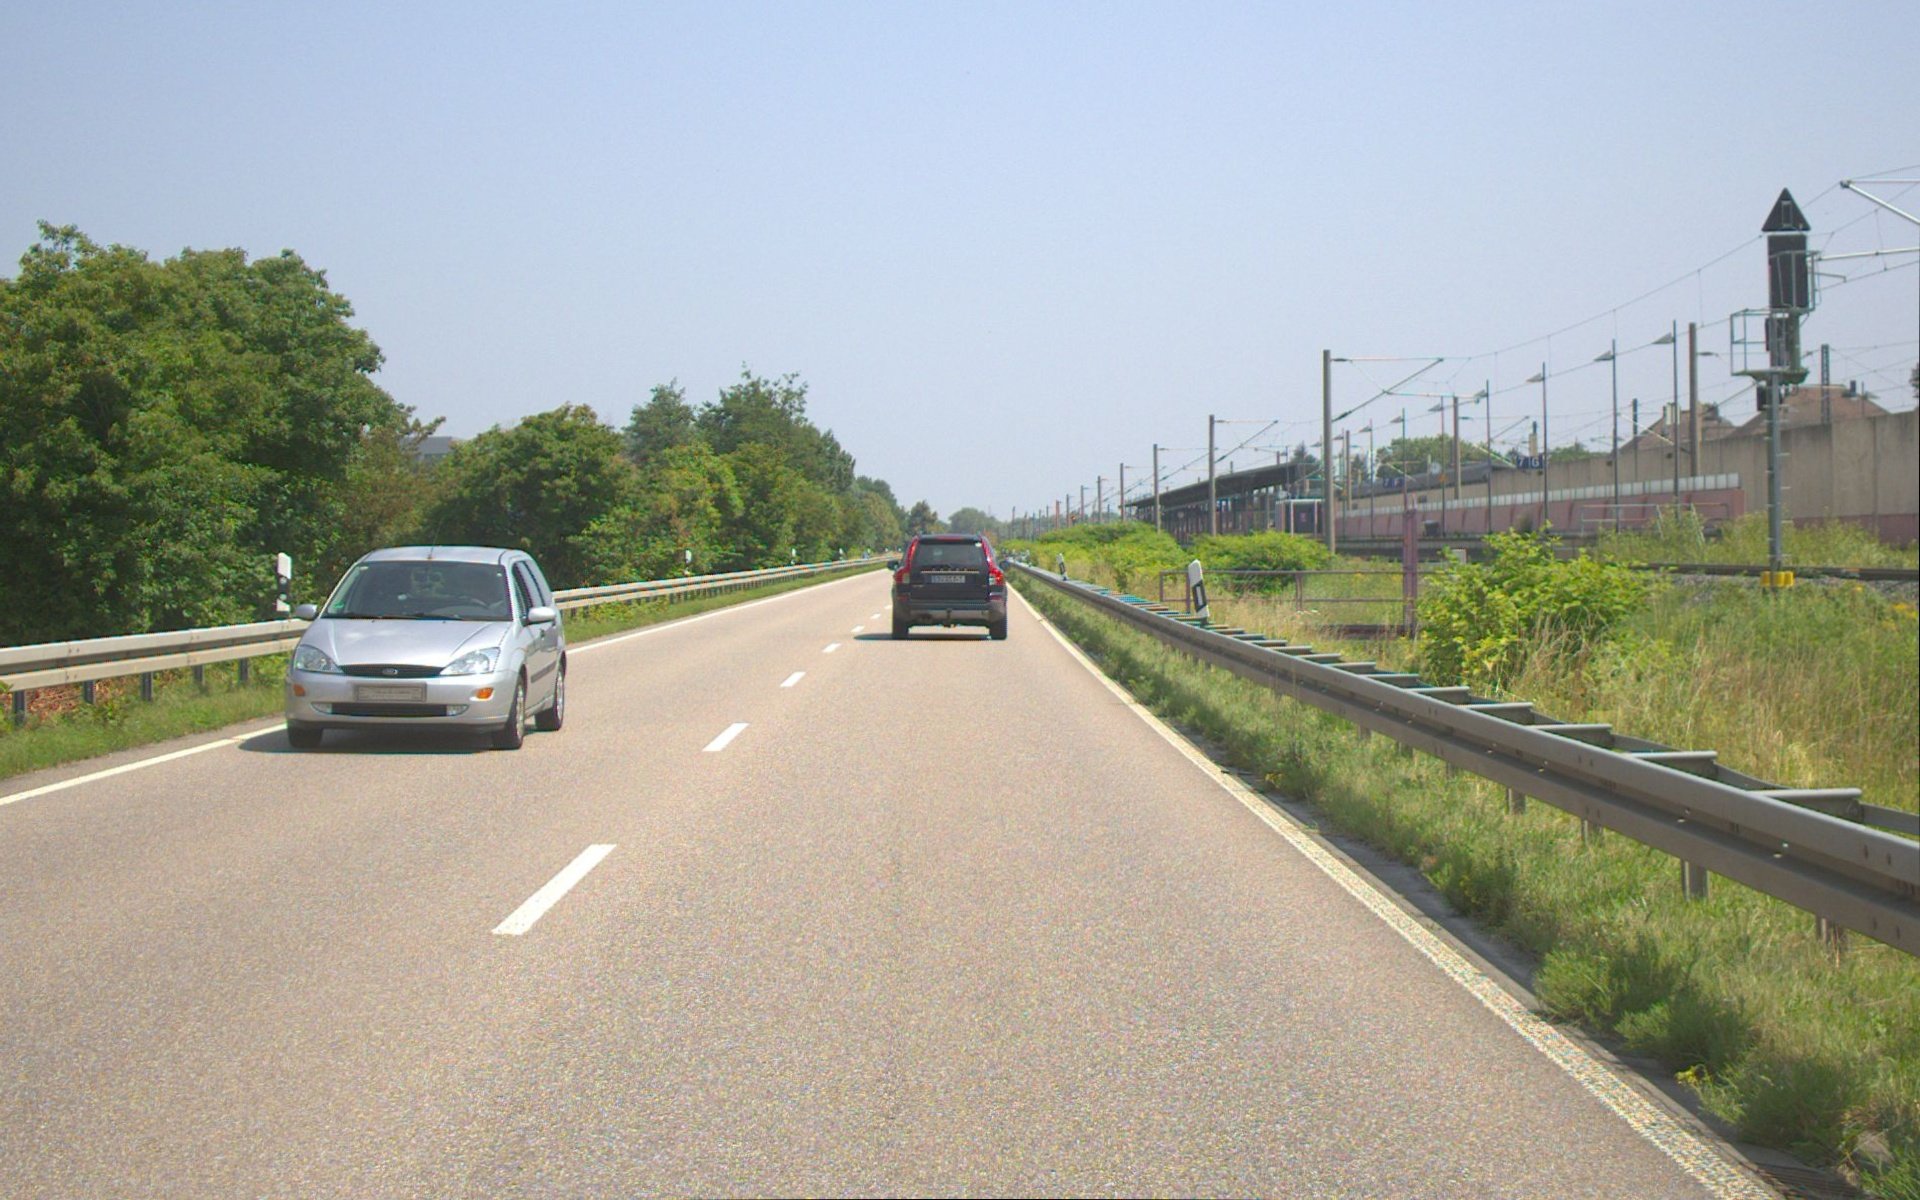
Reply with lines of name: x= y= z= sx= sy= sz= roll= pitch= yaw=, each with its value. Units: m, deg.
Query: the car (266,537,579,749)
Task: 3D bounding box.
car: x=-4.052 y=0.268 z=26.584 sx=1.698 sy=1.469 sz=4.687 roll=1 pitch=1 yaw=0

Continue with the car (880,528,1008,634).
car: x=-0.306 y=-0.335 z=57.017 sx=1.993 sy=1.694 sz=4.000 roll=0 pitch=1 yaw=-2
